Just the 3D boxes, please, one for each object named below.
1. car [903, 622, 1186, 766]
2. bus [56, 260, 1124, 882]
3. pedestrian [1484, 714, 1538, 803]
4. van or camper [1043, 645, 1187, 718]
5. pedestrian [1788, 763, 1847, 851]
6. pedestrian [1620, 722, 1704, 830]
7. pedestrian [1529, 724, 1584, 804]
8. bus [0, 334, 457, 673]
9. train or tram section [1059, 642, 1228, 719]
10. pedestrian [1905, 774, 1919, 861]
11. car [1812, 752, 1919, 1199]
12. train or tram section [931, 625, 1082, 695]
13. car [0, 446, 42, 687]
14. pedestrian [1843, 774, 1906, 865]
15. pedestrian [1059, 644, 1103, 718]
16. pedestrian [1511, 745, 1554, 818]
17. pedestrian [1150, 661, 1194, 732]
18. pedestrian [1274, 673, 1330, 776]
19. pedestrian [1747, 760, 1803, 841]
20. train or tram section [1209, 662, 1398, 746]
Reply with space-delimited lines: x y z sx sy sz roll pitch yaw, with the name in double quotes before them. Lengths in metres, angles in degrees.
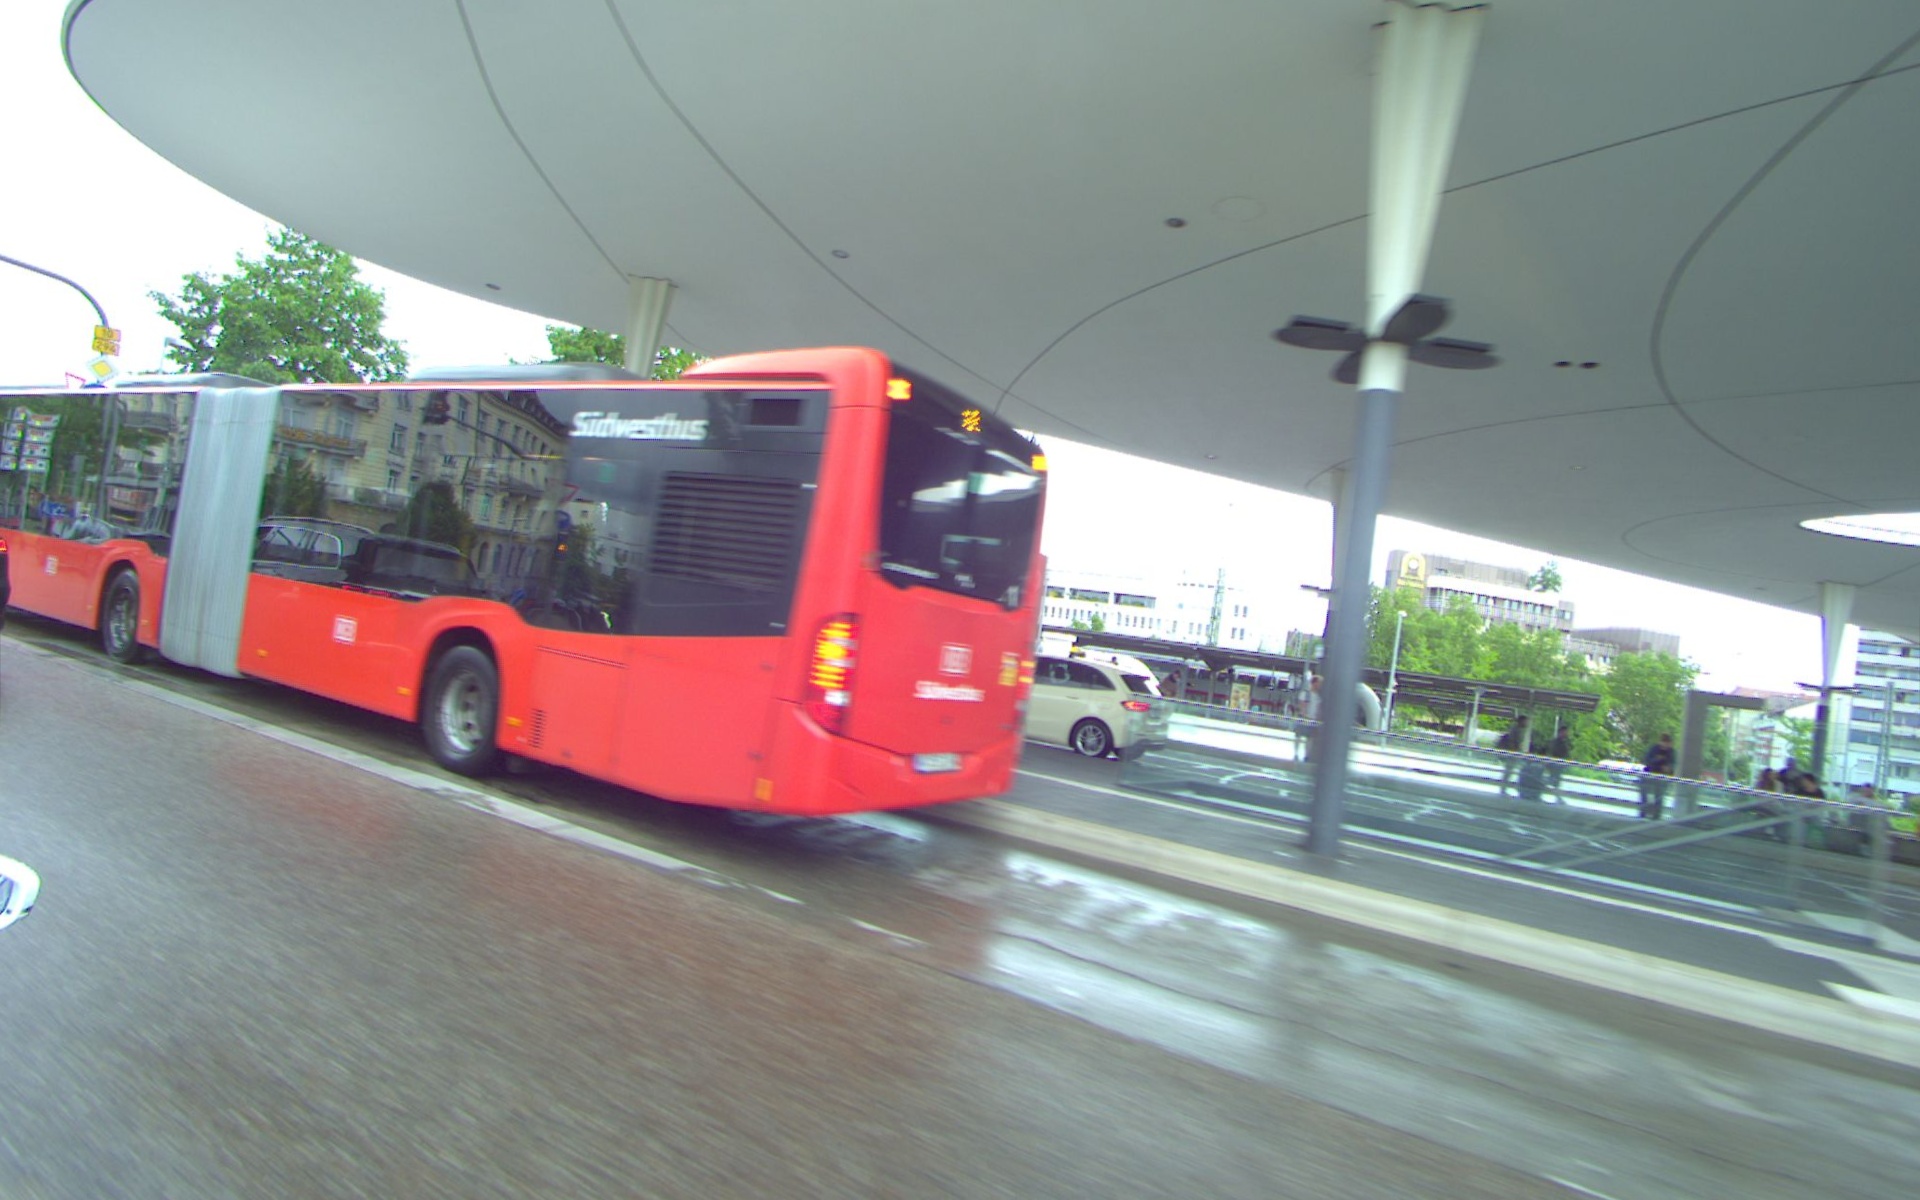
"car" 1.360 1.515 16.610 4.168 1.680 1.718 7 -4 30
"bus" -4.237 -0.499 9.554 10.697 3.329 3.294 7 -2 32
"pedestrian" 10.769 3.077 19.681 0.698 1.599 0.600 7 -1 21
"van or camper" 7.285 3.837 47.406 6.108 2.536 2.100 6 -3 27
"pedestrian" 15.651 3.754 18.373 0.603 1.460 0.562 6 -3 27
"pedestrian" 12.583 3.142 18.060 0.753 1.730 0.711 8 3 2
"pedestrian" 12.738 3.494 21.488 0.759 1.592 0.583 7 -7 -2
"bus" -11.267 -1.305 13.920 8.702 3.326 3.298 7 -2 32
"train or tram section" 13.421 5.870 74.190 11.419 3.715 3.146 7 -6 30
"pedestrian" 16.983 3.819 17.457 0.624 1.460 0.562 6 -3 27
"car" 3.479 1.278 0.588 4.230 1.479 1.702 9 -1 30
"train or tram section" 3.593 4.729 79.953 11.419 3.693 3.146 7 -6 30
"car" -10.047 -0.569 8.495 4.791 1.898 1.961 7 -1 31
"pedestrian" 16.366 3.908 18.006 0.603 1.460 0.562 6 -3 27
"pedestrian" 2.775 1.857 23.036 0.573 1.592 0.772 9 -7 -19
"pedestrian" 11.797 3.726 20.728 0.469 1.403 0.559 10 -7 -24
"pedestrian" 5.093 2.323 24.189 0.759 1.592 0.583 7 -7 -2
"pedestrian" 7.106 2.578 20.876 0.720 2.031 0.665 11 -8 -33
"pedestrian" 15.148 3.714 18.716 0.603 1.375 0.562 6 -3 27
"train or tram section" 23.211 6.996 68.335 11.419 3.712 3.146 6 -7 30
